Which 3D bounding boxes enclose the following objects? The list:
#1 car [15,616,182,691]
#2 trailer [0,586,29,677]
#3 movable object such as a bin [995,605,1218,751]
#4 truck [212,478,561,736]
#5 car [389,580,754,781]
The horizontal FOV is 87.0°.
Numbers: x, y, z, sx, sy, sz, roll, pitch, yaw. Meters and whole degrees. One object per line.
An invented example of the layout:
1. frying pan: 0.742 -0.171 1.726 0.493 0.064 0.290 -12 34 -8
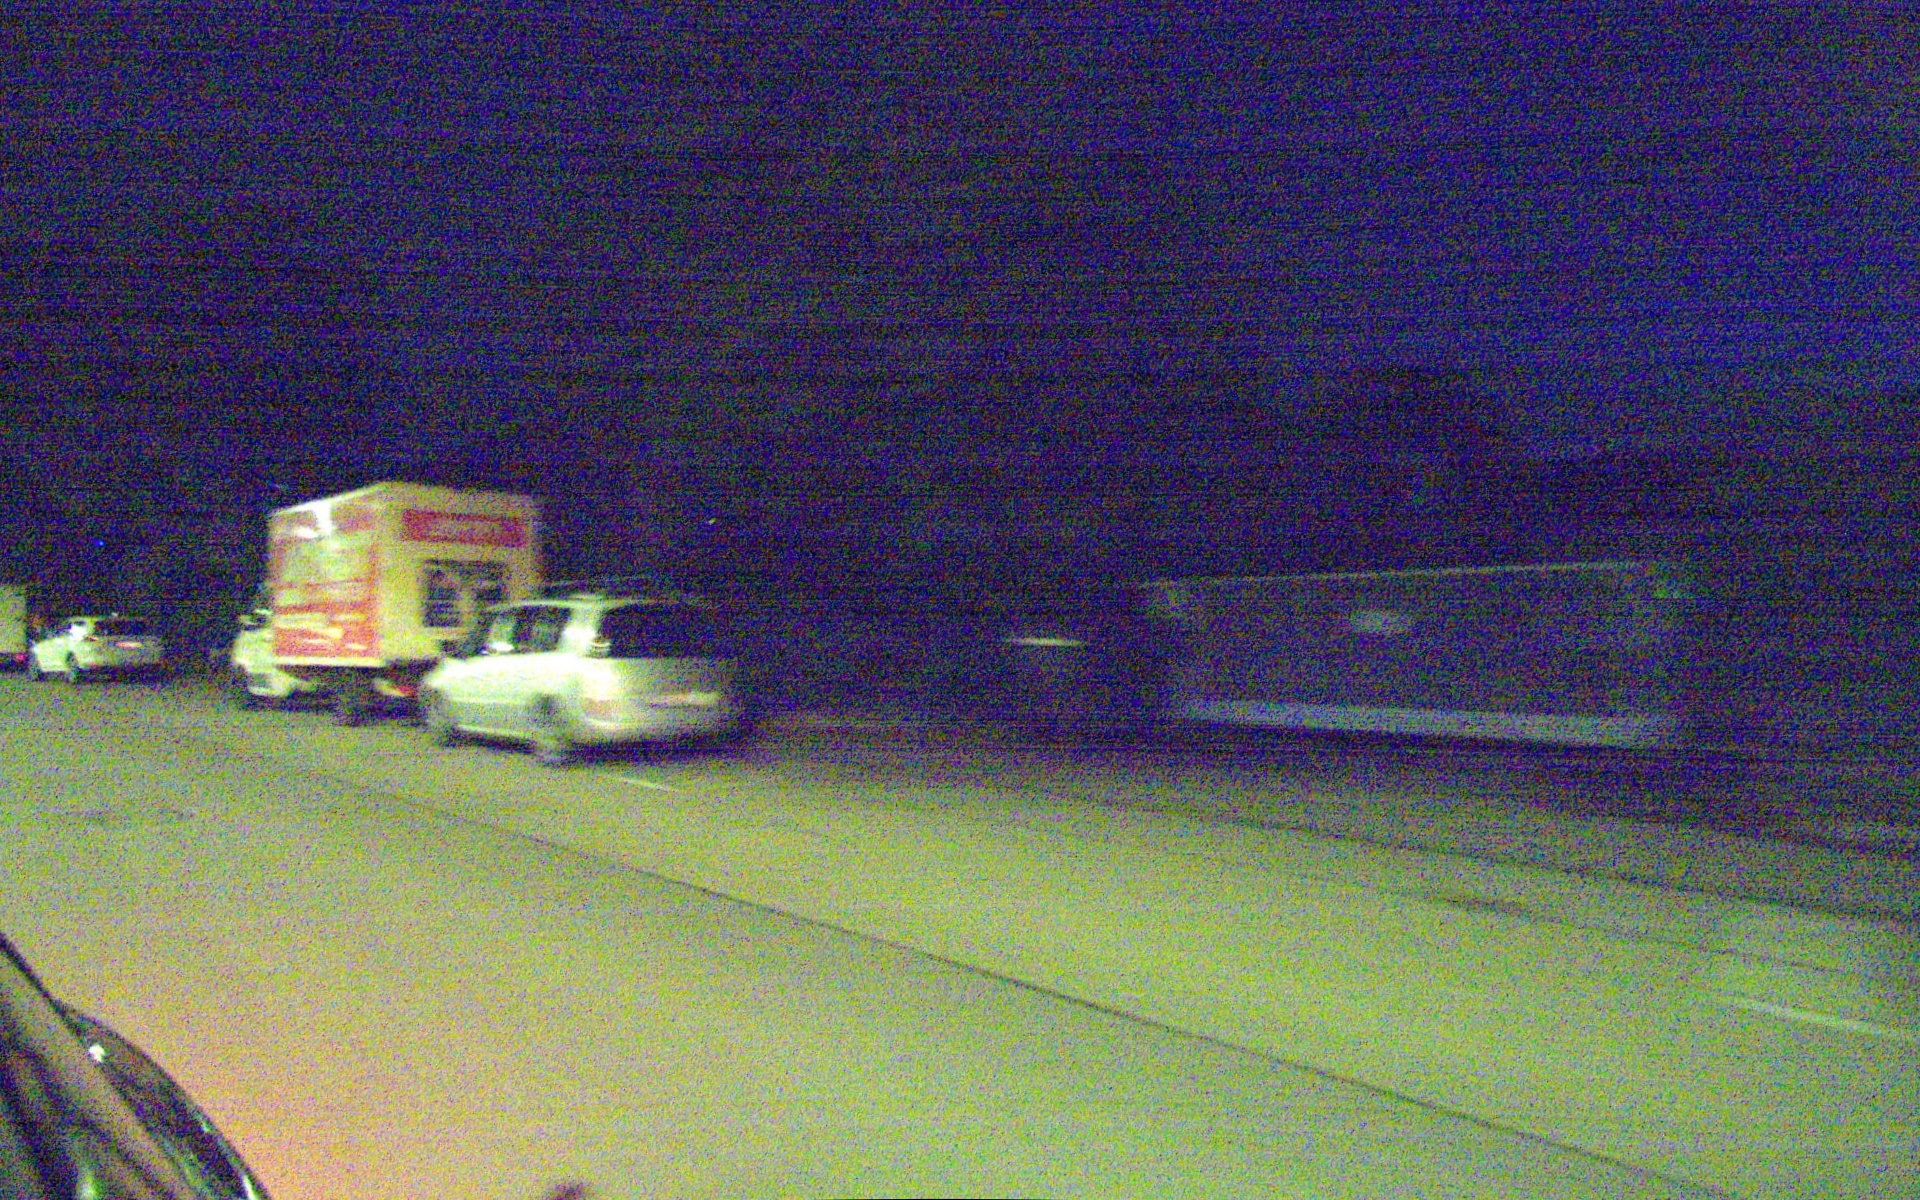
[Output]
1. car: -22.341 1.325 26.201 4.676 1.785 1.978 -1 -2 32
2. trailer: -32.076 1.019 32.373 4.600 2.817 2.188 -1 -2 31
3. movable object such as a bin: 1.731 0.838 11.767 2.308 1.506 1.417 1 -2 -42
4. truck: -9.456 0.174 16.285 7.306 3.305 2.518 -2 -2 40
5. car: -4.573 0.799 11.499 4.835 1.830 1.810 -2 -2 41
